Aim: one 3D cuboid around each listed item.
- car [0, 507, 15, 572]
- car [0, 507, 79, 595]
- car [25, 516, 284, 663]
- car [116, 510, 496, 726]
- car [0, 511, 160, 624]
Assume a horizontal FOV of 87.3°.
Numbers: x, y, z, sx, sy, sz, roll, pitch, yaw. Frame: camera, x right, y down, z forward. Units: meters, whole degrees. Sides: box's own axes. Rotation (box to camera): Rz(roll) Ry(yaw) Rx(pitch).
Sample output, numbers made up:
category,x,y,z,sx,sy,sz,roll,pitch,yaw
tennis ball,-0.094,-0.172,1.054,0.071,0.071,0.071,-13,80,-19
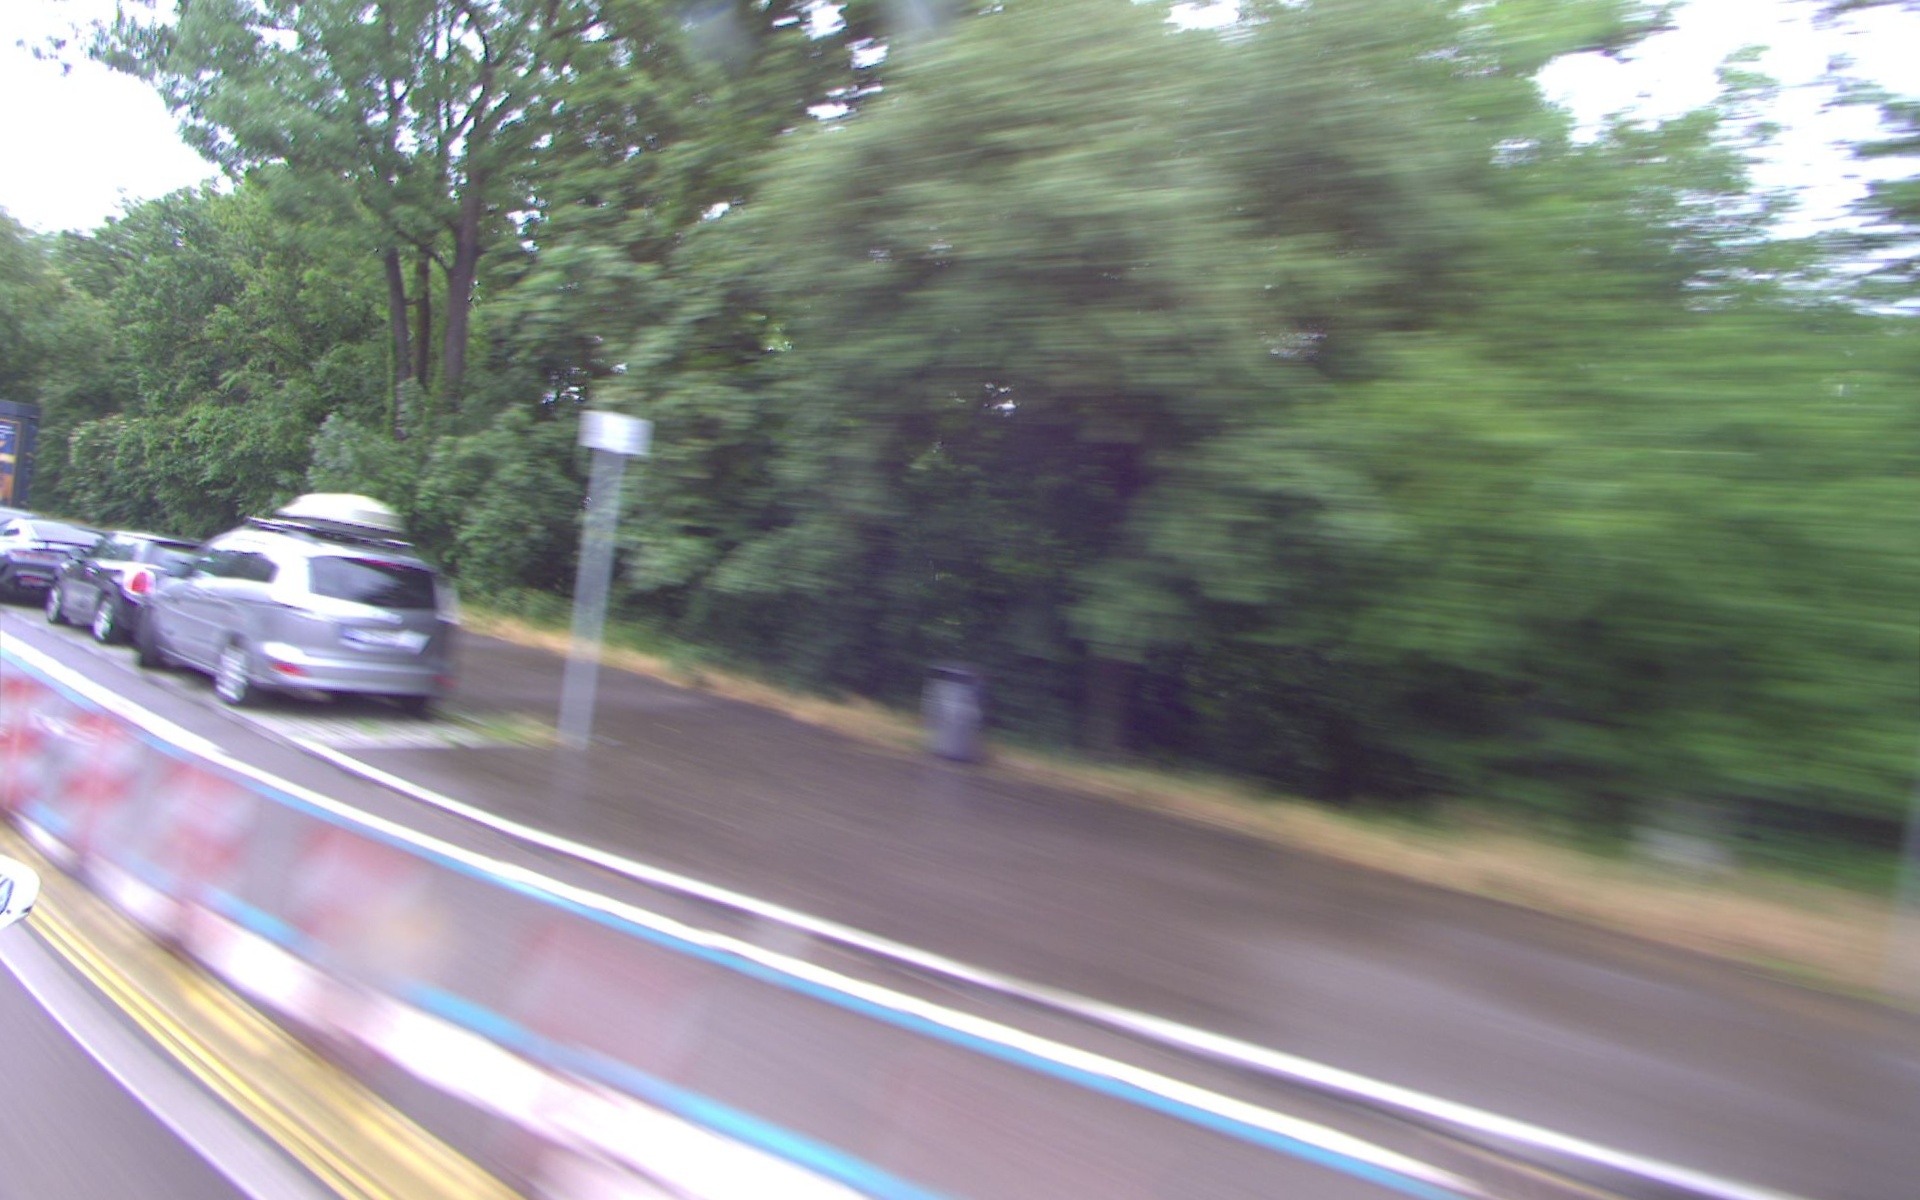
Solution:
category,x,y,z,sx,sy,sz,roll,pitch,yaw
car,-24.032,-1.643,23.974,3.621,1.476,1.561,7,-3,39
car,-19.805,-1.159,20.591,4.682,1.471,1.857,7,-3,40
car,-10.807,-0.173,13.433,3.647,1.428,1.699,6,-4,37
car,-6.857,0.128,10.403,4.187,1.633,1.824,6,-3,37
car,-15.139,-0.633,16.628,4.319,1.414,1.855,6,-4,37
